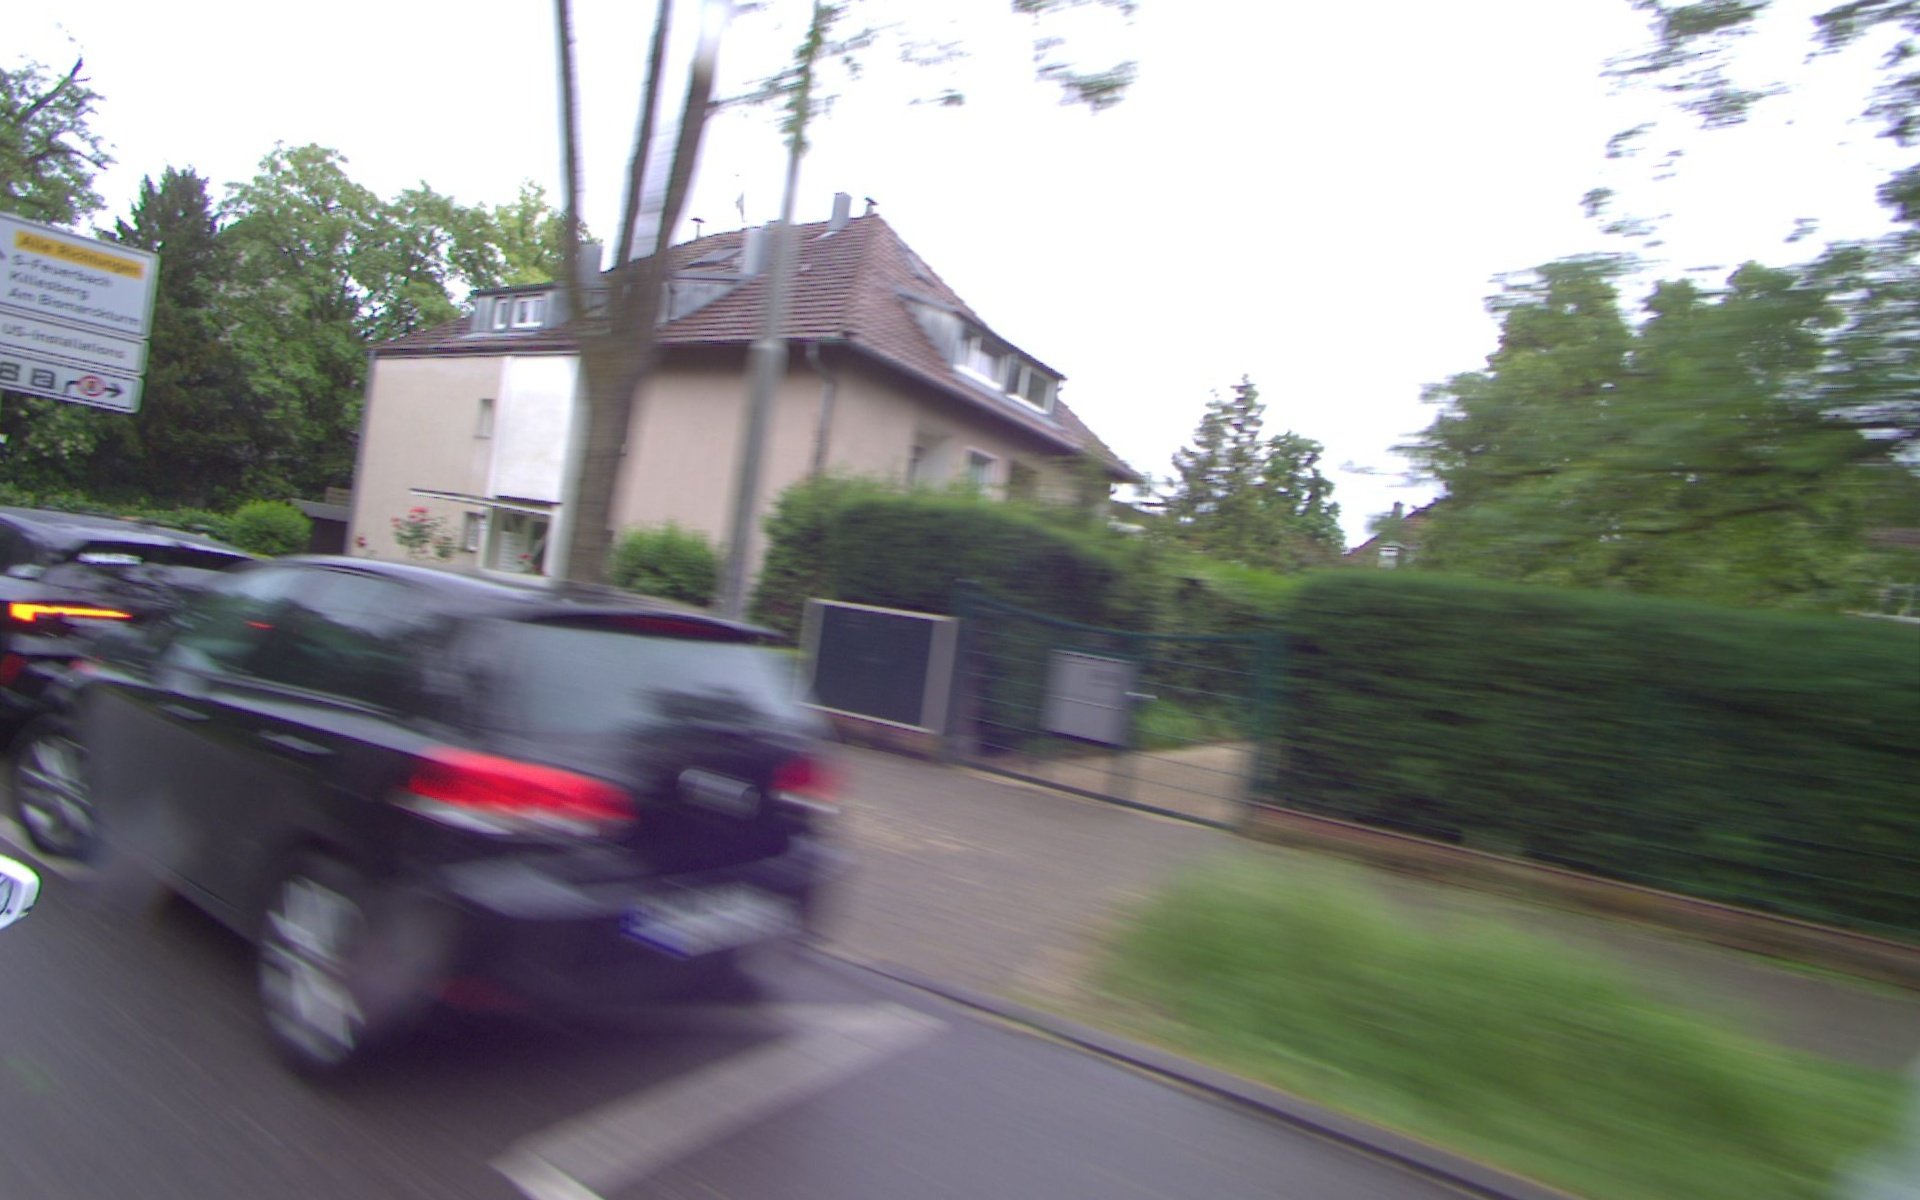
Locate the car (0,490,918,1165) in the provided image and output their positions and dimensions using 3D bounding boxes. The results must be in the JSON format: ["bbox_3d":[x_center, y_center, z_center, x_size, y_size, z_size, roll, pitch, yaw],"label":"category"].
[{"bbox_3d":[-2.331,0.500,4.170,3.937,1.426,1.731,7,-2,35],"label":"car"}]

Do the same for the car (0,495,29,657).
[{"bbox_3d":[-11.551,-0.559,10.238,4.743,1.543,1.757,7,-2,32],"label":"car"}]

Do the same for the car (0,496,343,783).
[{"bbox_3d":[-6.414,0.071,7.031,4.336,1.485,1.621,7,-2,31],"label":"car"}]

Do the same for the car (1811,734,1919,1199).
[{"bbox_3d":[2.842,1.143,1.002,2.755,1.534,1.601,7,-1,32],"label":"car"}]
